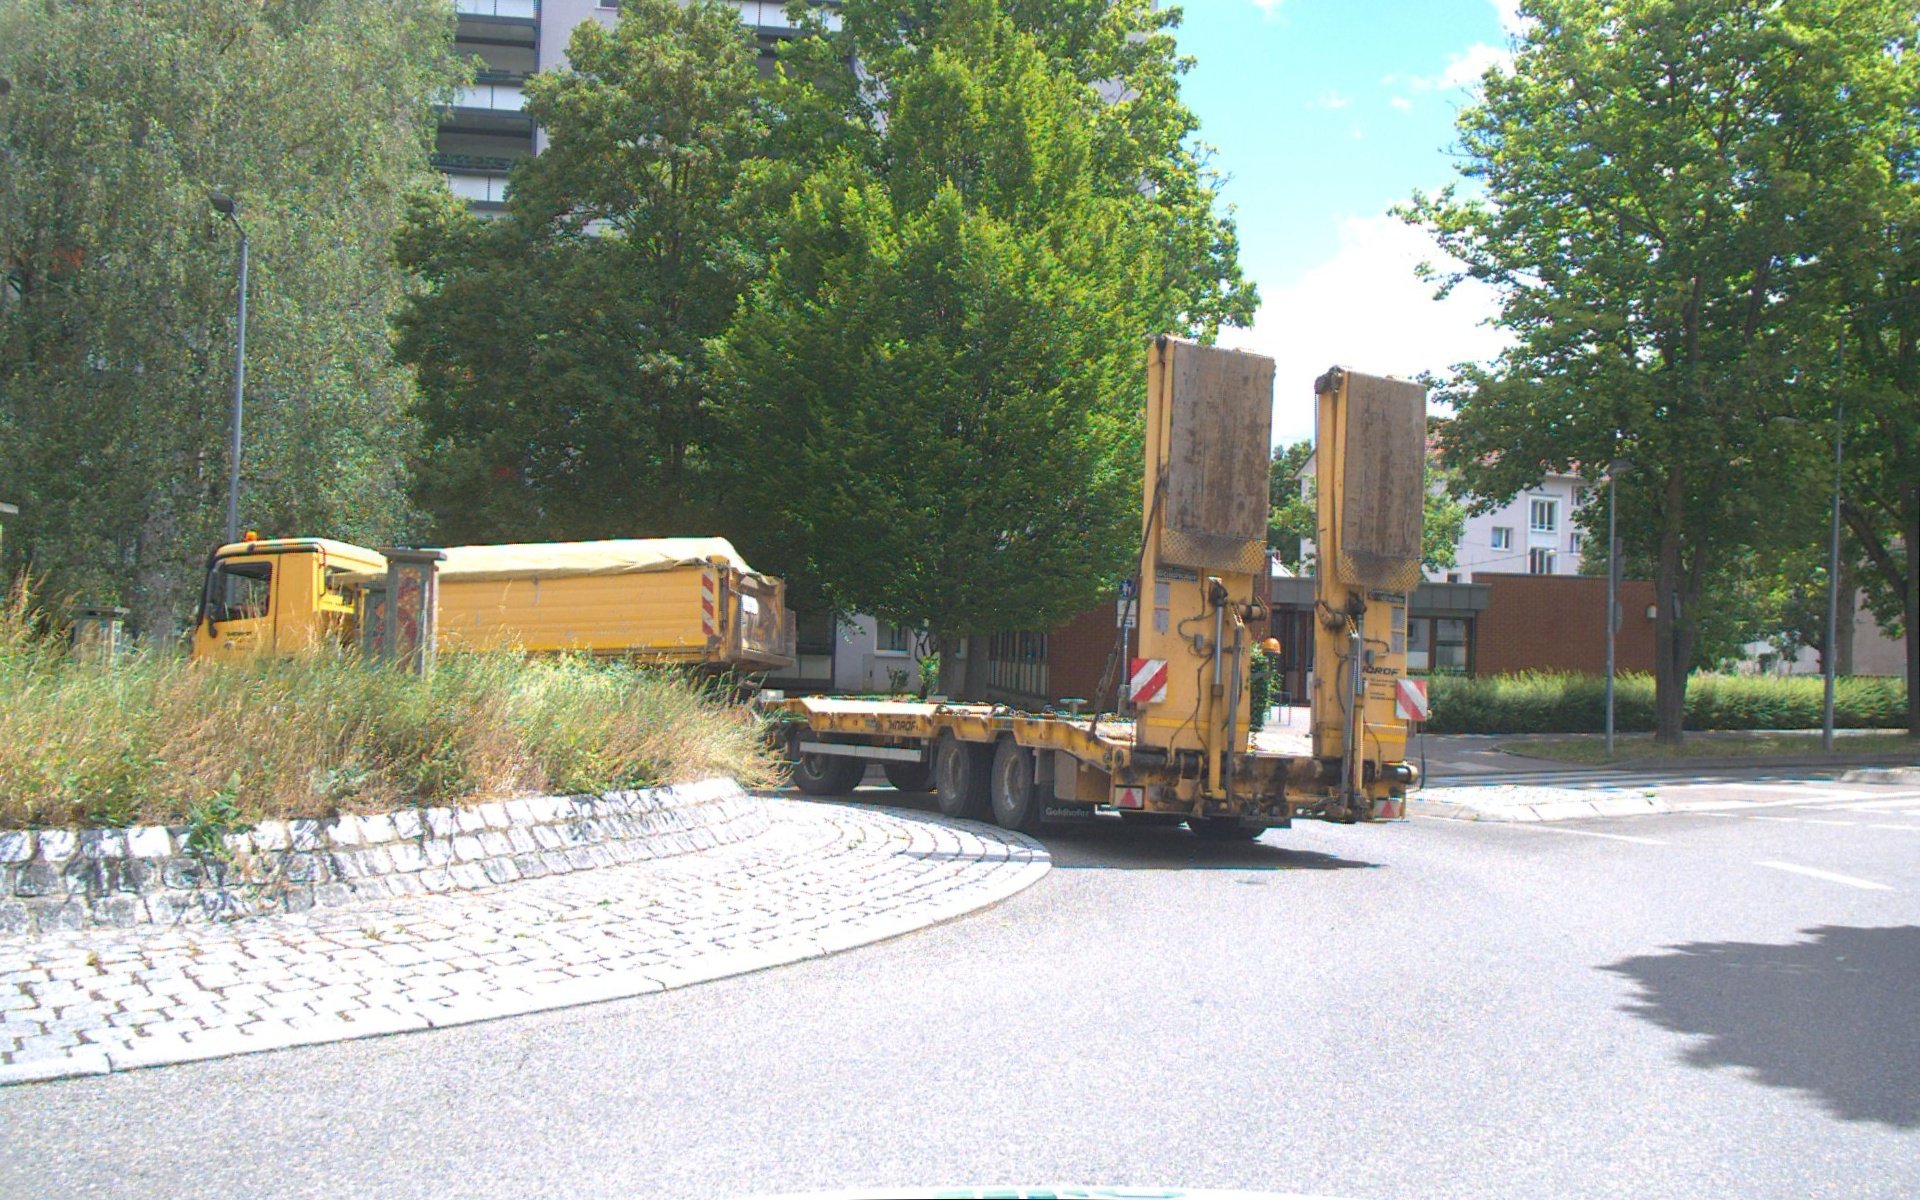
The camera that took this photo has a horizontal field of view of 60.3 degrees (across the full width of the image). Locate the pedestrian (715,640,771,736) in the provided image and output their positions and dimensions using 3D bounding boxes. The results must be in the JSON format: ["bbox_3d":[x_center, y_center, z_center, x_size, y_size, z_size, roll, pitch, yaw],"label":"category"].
[{"bbox_3d":[-3.764,1.506,28.634,0.825,1.607,0.718,-1,-2,-16],"label":"pedestrian"}]

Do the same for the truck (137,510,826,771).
[{"bbox_3d":[-6.224,0.479,22.027,8.277,3.088,3.000,1,-2,11],"label":"truck"}]

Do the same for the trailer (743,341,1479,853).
[{"bbox_3d":[0.530,0.133,16.630,2.823,3.432,10.771,3,-2,-21],"label":"trailer"}]
